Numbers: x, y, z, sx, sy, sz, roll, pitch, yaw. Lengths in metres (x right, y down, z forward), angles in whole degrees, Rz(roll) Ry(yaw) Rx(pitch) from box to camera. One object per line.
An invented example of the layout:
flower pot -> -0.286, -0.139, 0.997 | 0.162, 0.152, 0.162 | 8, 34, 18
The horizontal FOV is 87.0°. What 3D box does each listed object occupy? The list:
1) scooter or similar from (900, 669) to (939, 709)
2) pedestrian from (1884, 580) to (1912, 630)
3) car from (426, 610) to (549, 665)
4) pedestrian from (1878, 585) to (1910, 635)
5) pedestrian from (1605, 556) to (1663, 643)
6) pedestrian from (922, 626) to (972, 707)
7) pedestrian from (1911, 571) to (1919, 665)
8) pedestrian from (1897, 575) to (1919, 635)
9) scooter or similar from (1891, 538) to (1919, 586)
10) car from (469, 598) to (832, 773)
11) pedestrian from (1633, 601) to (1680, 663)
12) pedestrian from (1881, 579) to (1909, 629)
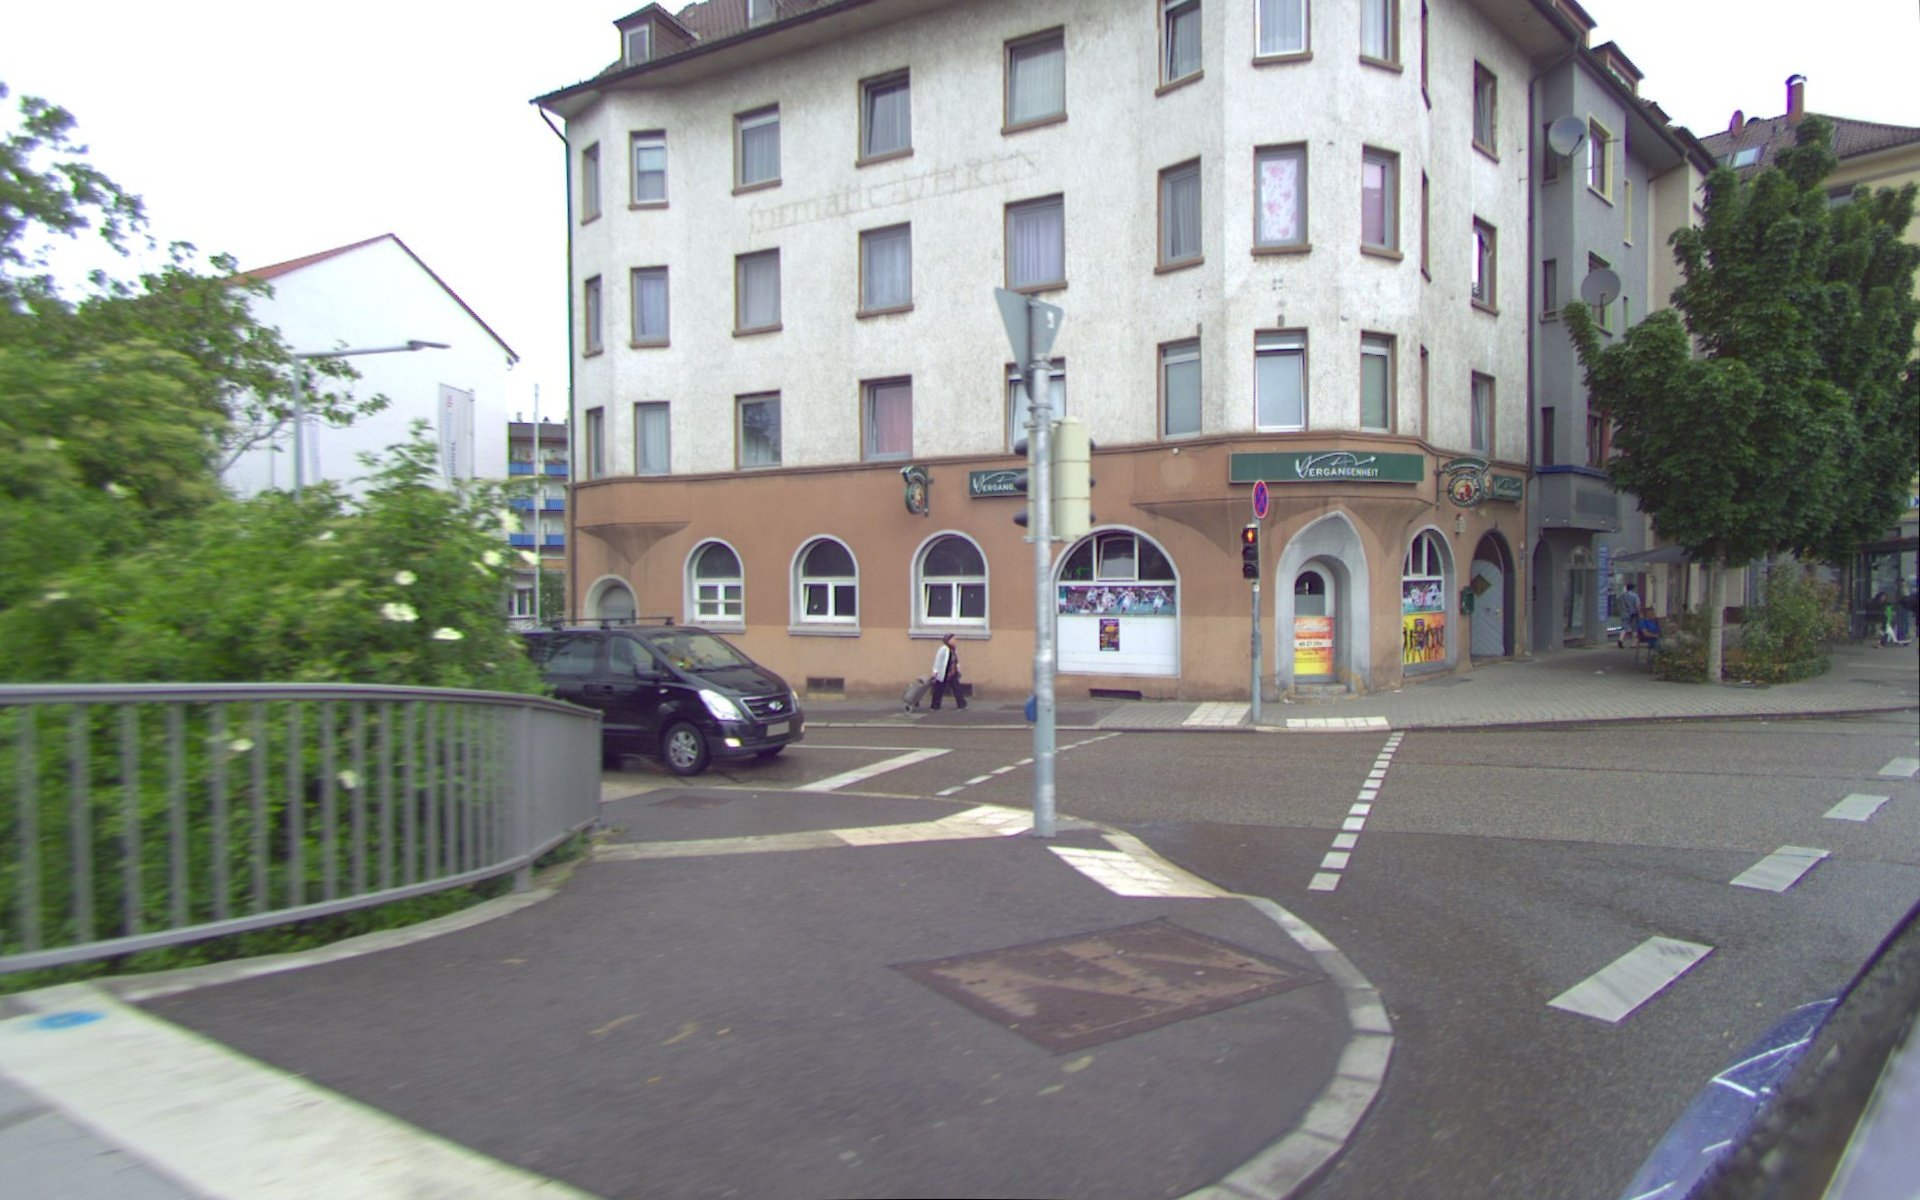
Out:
scooter or similar -> -0.788, 1.725, 19.596 | 0.502, 0.676, 0.545 | -5, 1, 28
pedestrian -> 27.205, 0.145, 29.353 | 0.506, 1.413, 0.564 | -5, 3, -43
car -> -17.341, 1.333, 37.185 | 3.956, 1.570, 1.986 | 3, 5, 23
pedestrian -> 26.071, 0.274, 28.246 | 0.614, 1.351, 0.607 | -5, 3, -42
pedestrian -> 16.519, -0.029, 24.797 | 1.180, 2.038, 0.898 | -5, 3, -41
pedestrian -> -0.255, 1.255, 19.426 | 0.694, 1.473, 0.623 | -1, 3, 28
pedestrian -> 19.780, 0.361, 20.475 | 0.620, 1.863, 0.734 | -5, 3, -42
pedestrian -> 28.053, 0.144, 29.770 | 0.644, 1.720, 0.621 | -4, 3, -37
scooter or similar -> 24.752, -1.003, 26.412 | 1.523, 1.186, 0.512 | -5, 3, -41
car -> -4.365, 1.179, 14.170 | 4.710, 2.038, 1.982 | -4, 0, 27
pedestrian -> 14.243, 0.647, 20.694 | 0.548, 1.204, 0.665 | -5, 3, -42
pedestrian -> 26.674, 0.101, 28.876 | 0.586, 1.366, 0.535 | -5, 3, -42
